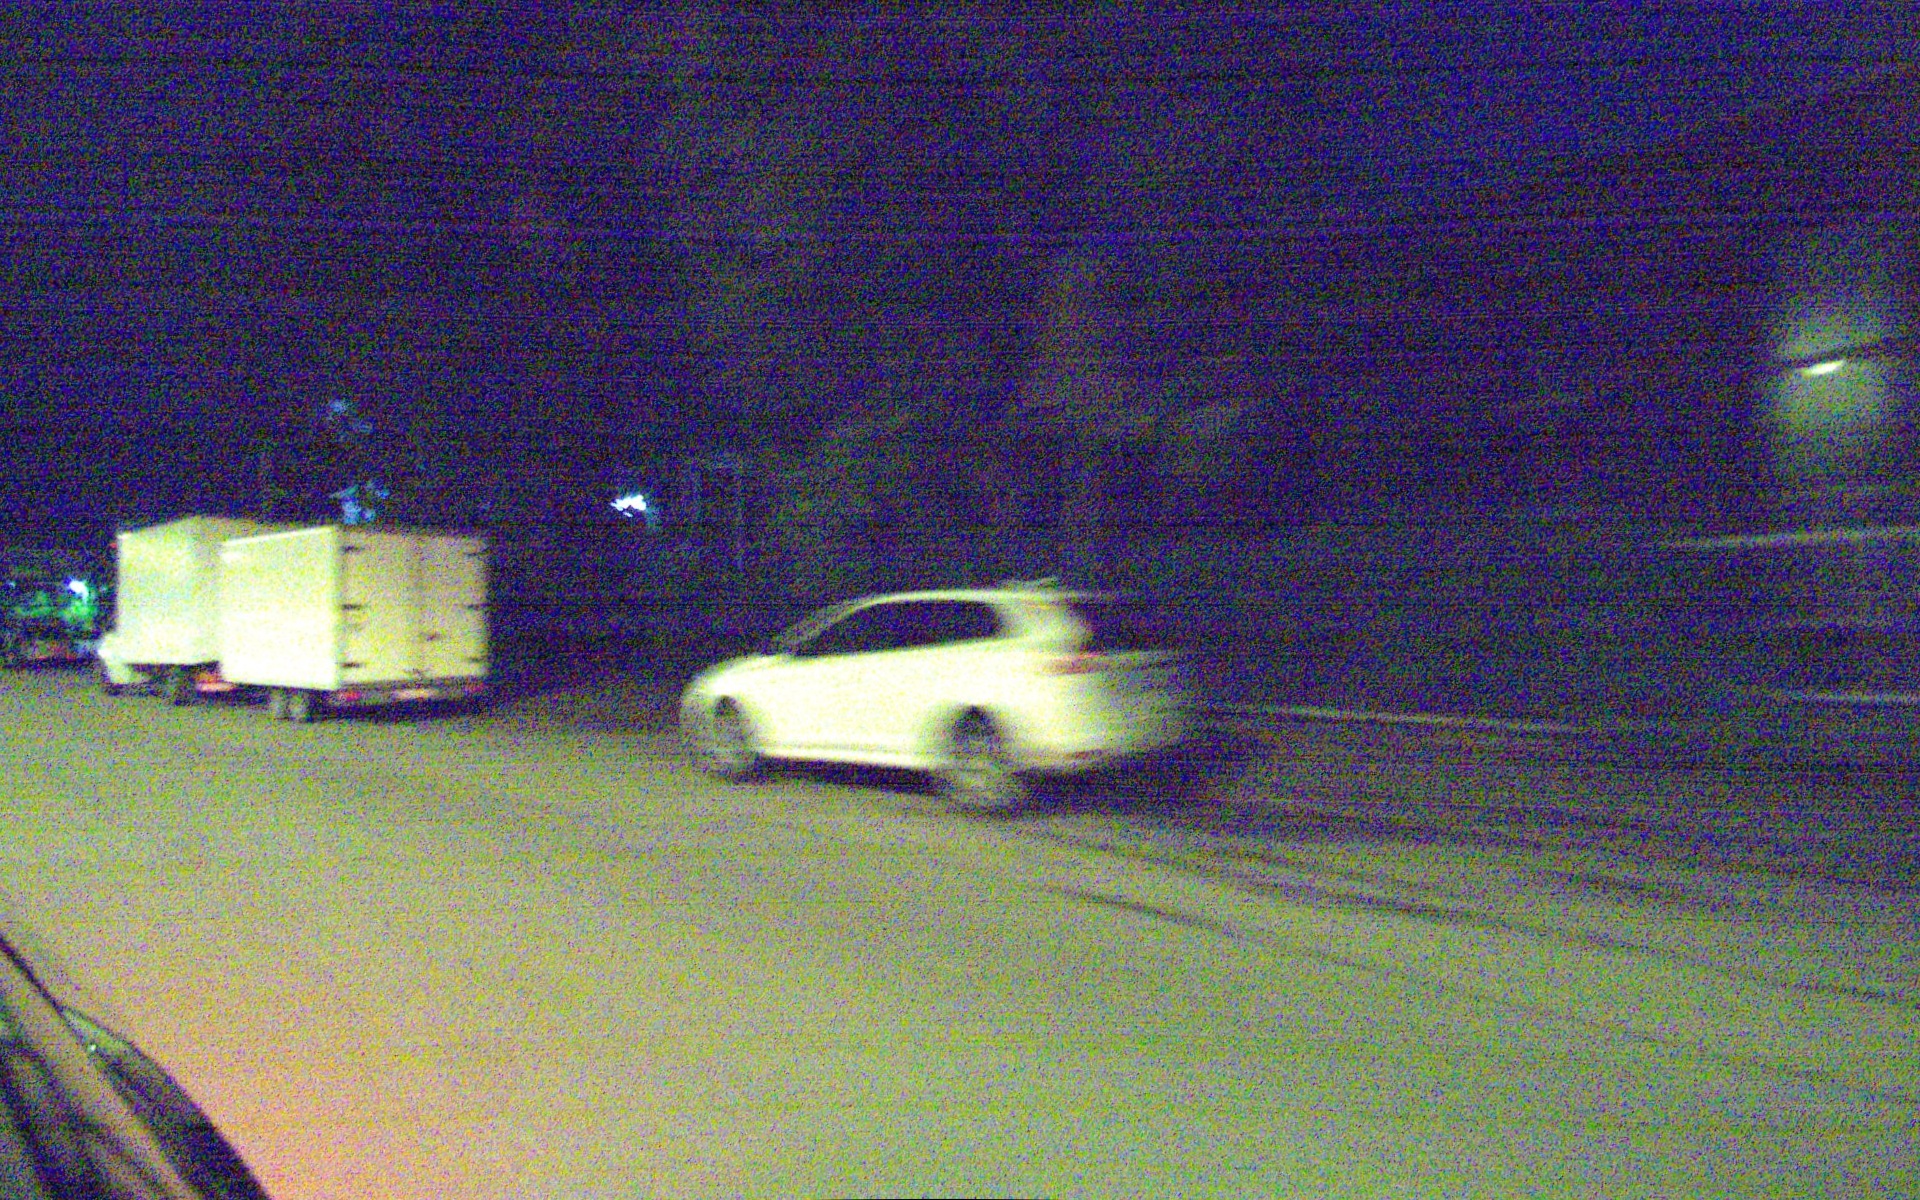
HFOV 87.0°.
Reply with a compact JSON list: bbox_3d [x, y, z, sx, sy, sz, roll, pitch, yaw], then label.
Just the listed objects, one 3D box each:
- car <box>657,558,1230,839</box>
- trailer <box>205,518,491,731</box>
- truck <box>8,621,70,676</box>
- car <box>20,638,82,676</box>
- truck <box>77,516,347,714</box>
[{"bbox_3d":[-0.322,0.680,8.647,4.684,1.785,1.975,-1,-2,37],"label":"car"},{"bbox_3d":[-9.524,0.383,15.637,4.607,2.817,2.185,-1,-2,36],"label":"trailer"},{"bbox_3d":[-47.486,2.436,52.103,2.107,2.633,7.104,2,-3,-44],"label":"truck"},{"bbox_3d":[-41.521,2.548,46.184,4.001,1.652,1.836,-2,-3,44],"label":"car"},{"bbox_3d":[-14.839,0.323,19.850,7.220,3.268,2.351,-1,-2,37],"label":"truck"}]
